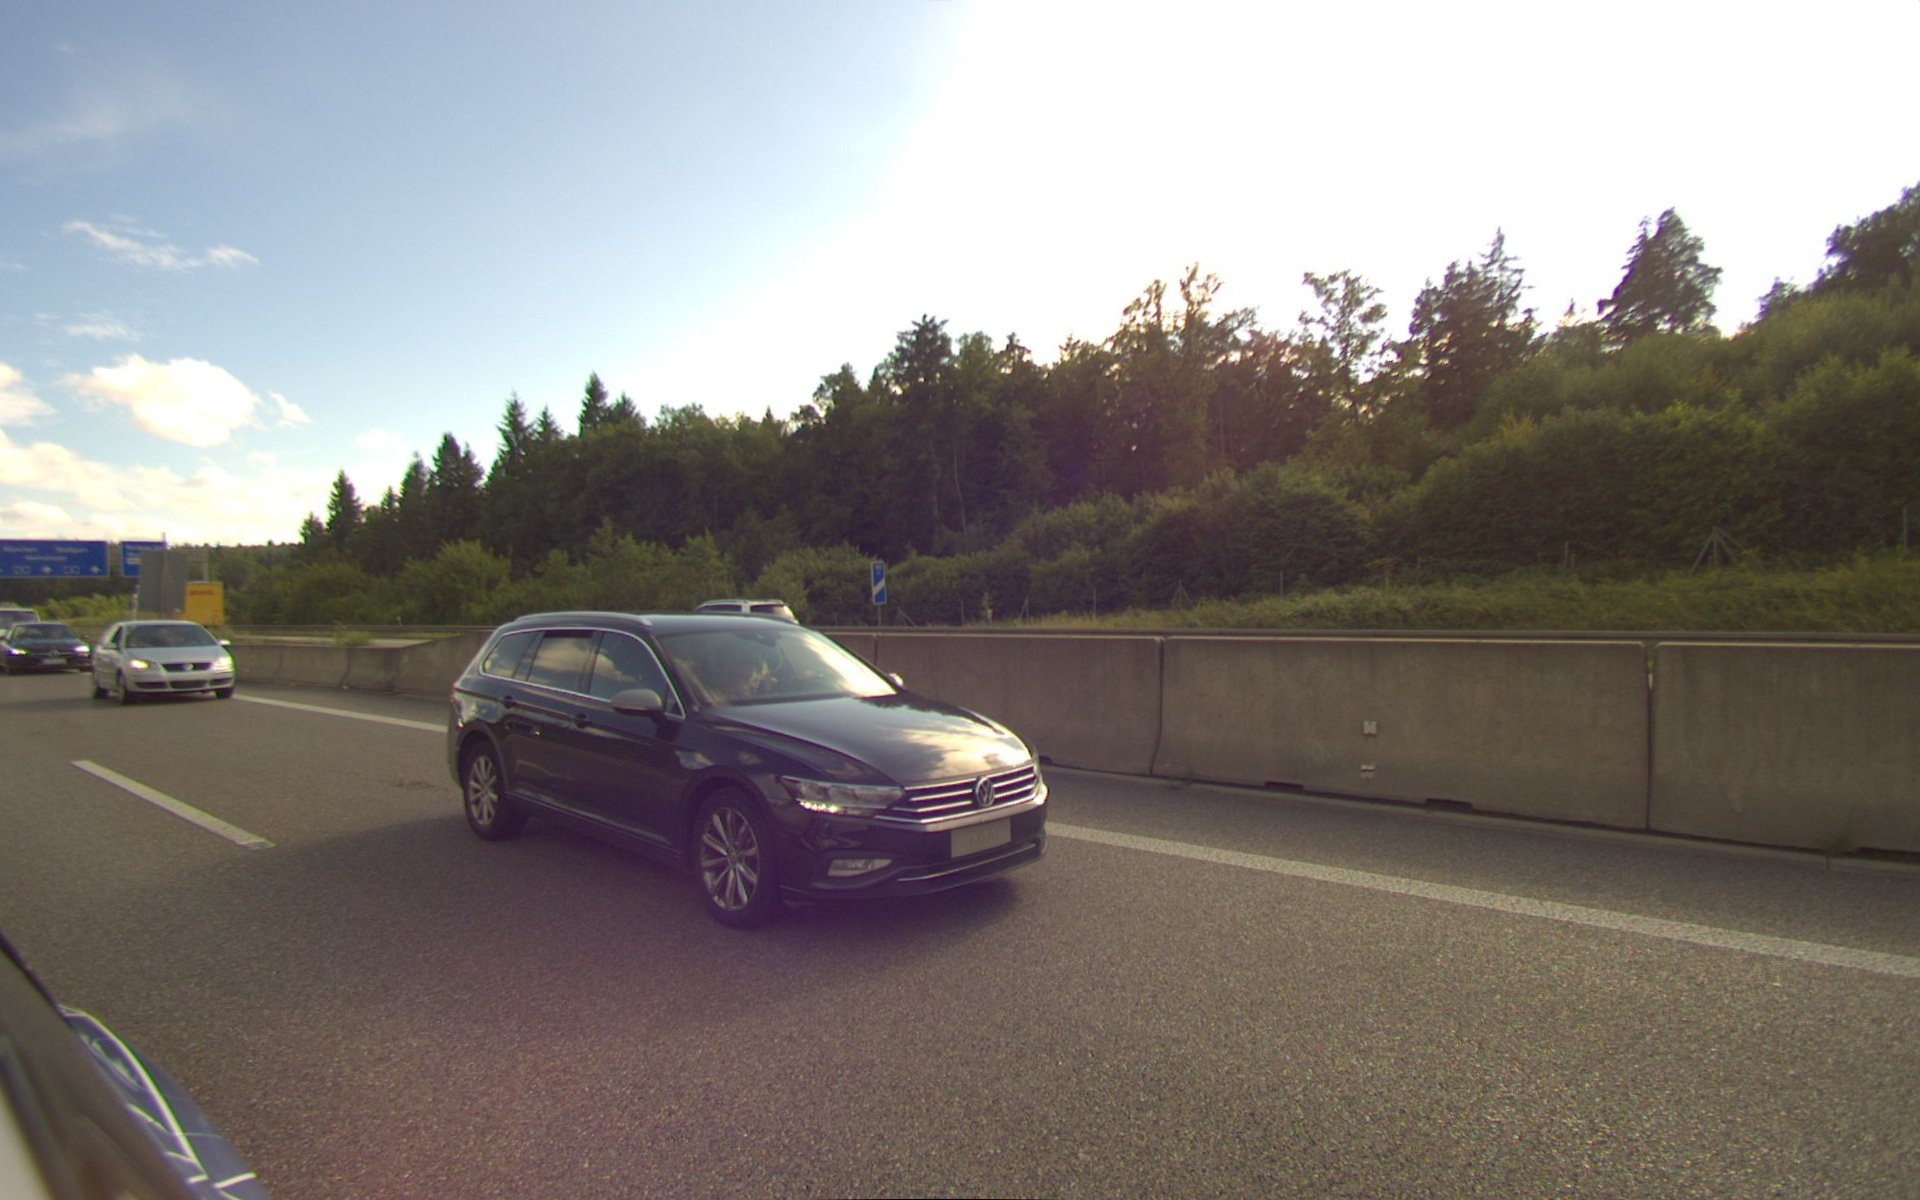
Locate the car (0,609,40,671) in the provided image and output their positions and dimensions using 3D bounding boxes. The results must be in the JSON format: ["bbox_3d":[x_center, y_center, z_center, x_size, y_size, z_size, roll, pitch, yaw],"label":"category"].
[{"bbox_3d":[-32.773,1.347,34.200,4.845,1.980,1.922,-1,0,41],"label":"car"}]

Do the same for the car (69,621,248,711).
[{"bbox_3d":[-15.107,1.153,18.978,4.663,1.442,1.786,-1,0,41],"label":"car"}]

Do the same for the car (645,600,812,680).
[{"bbox_3d":[-5.830,0.952,25.258,4.320,1.823,1.833,-1,0,40],"label":"car"}]

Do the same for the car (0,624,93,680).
[{"bbox_3d":[-26.215,1.436,28.776,3.991,1.442,1.786,-1,0,41],"label":"car"}]

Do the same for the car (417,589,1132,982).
[{"bbox_3d":[-1.424,0.742,6.100,4.568,1.488,1.890,-1,-1,43],"label":"car"}]

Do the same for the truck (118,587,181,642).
[{"bbox_3d":[-65.038,1.117,81.157,6.075,4.234,2.805,-1,0,40],"label":"truck"}]

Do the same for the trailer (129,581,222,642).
[{"bbox_3d":[-59.142,0.870,76.122,13.553,4.234,2.805,-1,0,40],"label":"trailer"}]
